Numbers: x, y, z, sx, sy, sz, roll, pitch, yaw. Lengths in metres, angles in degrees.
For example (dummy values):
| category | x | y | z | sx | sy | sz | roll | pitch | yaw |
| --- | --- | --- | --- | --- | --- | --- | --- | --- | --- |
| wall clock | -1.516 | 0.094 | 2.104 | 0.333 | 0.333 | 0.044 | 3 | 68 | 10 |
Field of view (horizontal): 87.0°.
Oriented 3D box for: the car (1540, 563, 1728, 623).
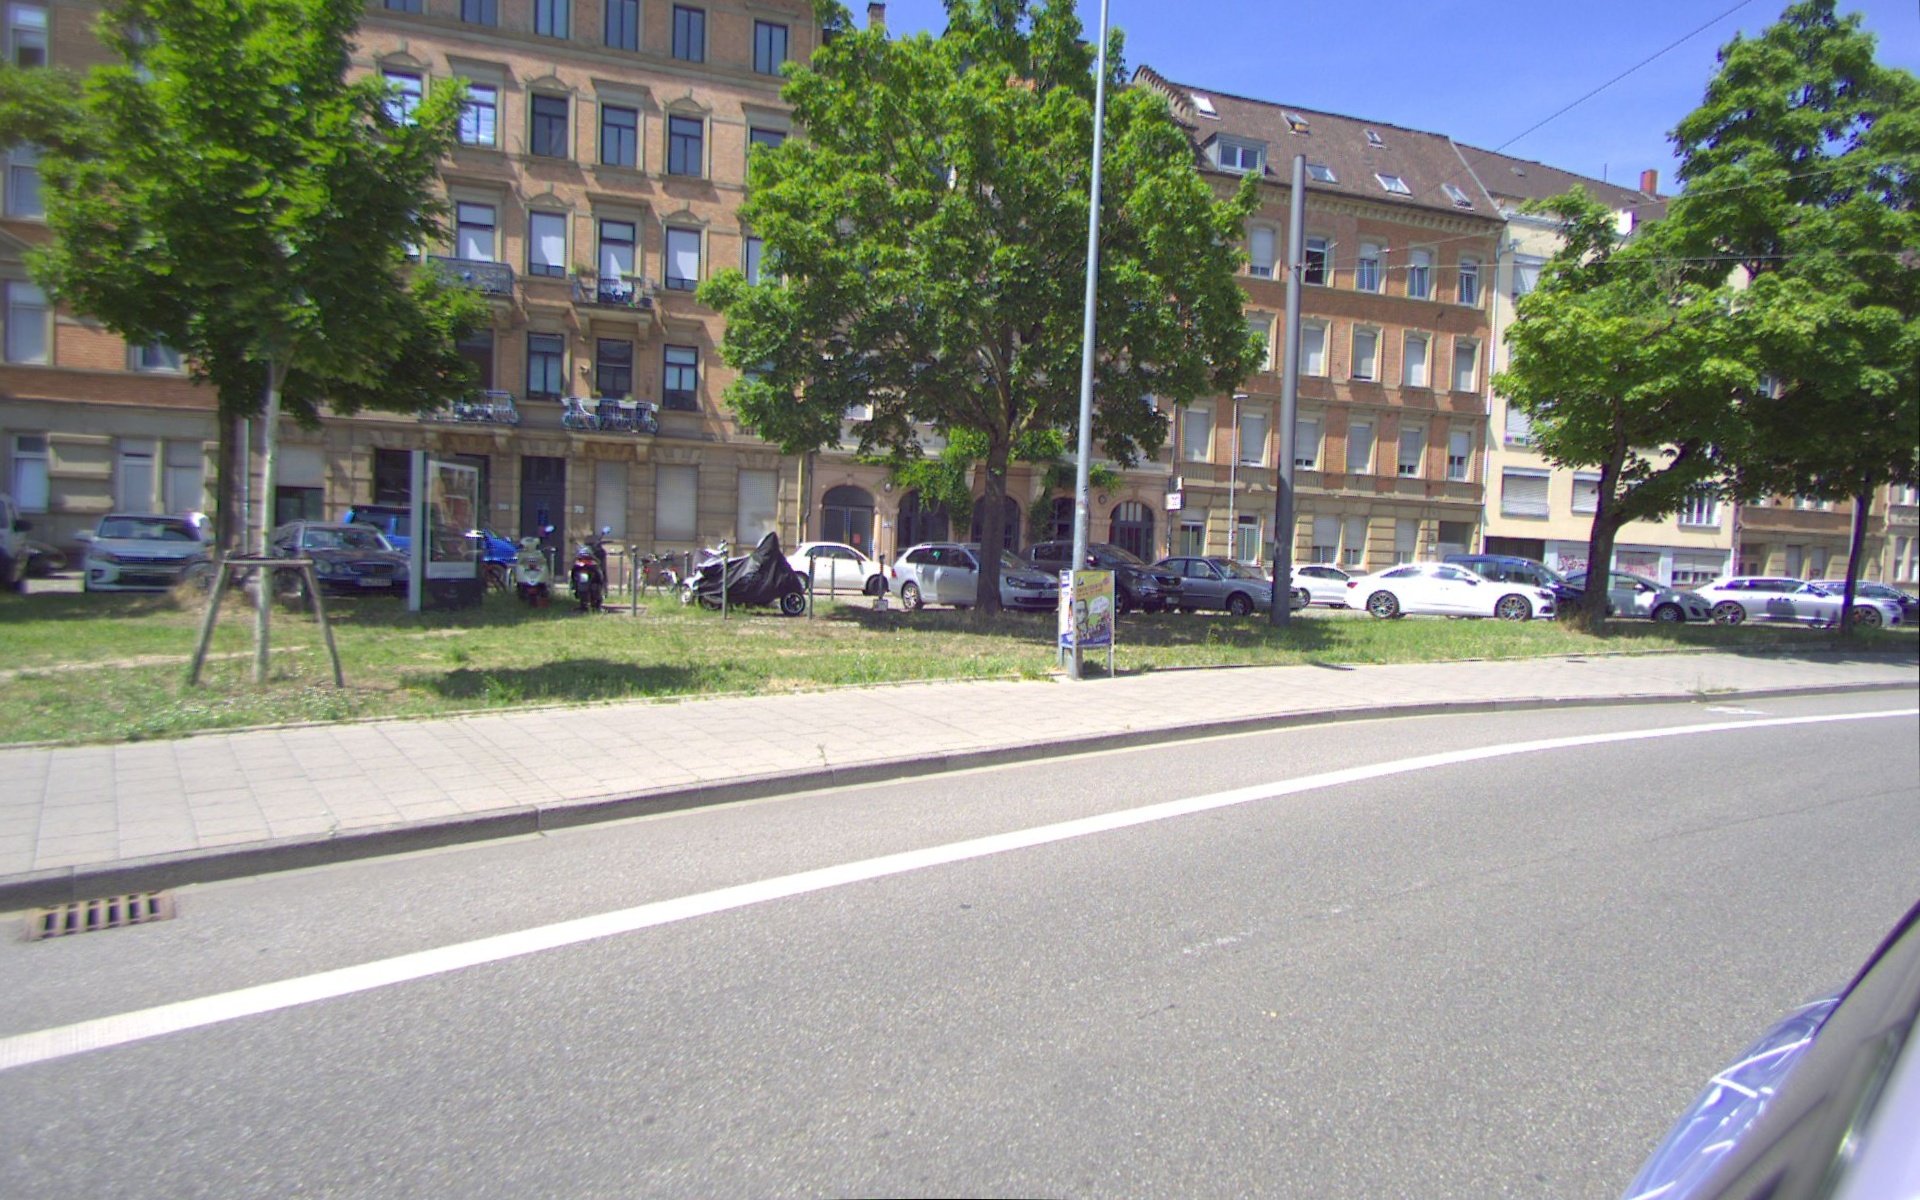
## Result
| category | x | y | z | sx | sy | sz | roll | pitch | yaw |
| --- | --- | --- | --- | --- | --- | --- | --- | --- | --- |
| car | 17.824 | -0.218 | 26.846 | 3.981 | 1.417 | 1.688 | 2 | 1 | 39 |

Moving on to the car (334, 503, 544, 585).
| category | x | y | z | sx | sy | sz | roll | pitch | yaw |
| --- | --- | --- | --- | --- | --- | --- | --- | --- | --- |
| car | -13.529 | -1.423 | 26.578 | 4.556 | 1.927 | 1.930 | 1 | 1 | -15 |

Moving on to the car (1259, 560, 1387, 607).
| category | x | y | z | sx | sy | sz | roll | pitch | yaw |
| --- | --- | --- | --- | --- | --- | --- | --- | --- | --- |
| car | 12.074 | -0.562 | 33.737 | 3.637 | 1.438 | 1.789 | 1 | 1 | -16 |

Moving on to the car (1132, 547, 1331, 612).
| category | x | y | z | sx | sy | sz | roll | pitch | yaw |
| --- | --- | --- | --- | --- | --- | --- | --- | --- | --- |
| car | 6.053 | -0.470 | 22.930 | 1.935 | 1.330 | 3.999 | 1 | 1 | -37 |

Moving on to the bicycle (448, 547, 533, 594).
| category | x | y | z | sx | sy | sz | roll | pitch | yaw |
| --- | --- | --- | --- | --- | --- | --- | --- | --- | --- |
| bicycle | -8.447 | -0.531 | 18.210 | 1.438 | 0.815 | 0.496 | 2 | 1 | 20 |

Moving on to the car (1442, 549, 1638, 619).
| category | x | y | z | sx | sy | sz | roll | pitch | yaw |
| --- | --- | --- | --- | --- | --- | --- | --- | --- | --- |
| car | 15.026 | -0.438 | 26.362 | 1.938 | 1.682 | 3.995 | 1 | 1 | -41 |

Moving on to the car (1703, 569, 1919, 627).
| category | x | y | z | sx | sy | sz | roll | pitch | yaw |
| --- | --- | --- | --- | --- | --- | --- | --- | --- | --- |
| car | 23.864 | -0.091 | 28.501 | 4.669 | 1.445 | 1.945 | 2 | 1 | 39 |

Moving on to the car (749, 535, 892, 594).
| category | x | y | z | sx | sy | sz | roll | pitch | yaw |
| --- | --- | --- | --- | --- | --- | --- | --- | --- | --- |
| car | -4.074 | -1.013 | 29.390 | 3.916 | 1.549 | 1.846 | 1 | 1 | -13 |

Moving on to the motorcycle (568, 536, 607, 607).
| category | x | y | z | sx | sy | sz | roll | pitch | yaw |
| --- | --- | --- | --- | --- | --- | --- | --- | --- | --- |
| motorcycle | -6.231 | -0.476 | 16.975 | 0.468 | 1.134 | 1.529 | 1 | 1 | -15 |

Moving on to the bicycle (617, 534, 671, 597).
| category | x | y | z | sx | sy | sz | roll | pitch | yaw |
| --- | --- | --- | --- | --- | --- | --- | --- | --- | --- |
| bicycle | -6.610 | -0.715 | 21.266 | 0.619 | 1.251 | 2.088 | 1 | 1 | -5 |

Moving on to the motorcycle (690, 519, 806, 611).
| category | x | y | z | sx | sy | sz | roll | pitch | yaw |
| --- | --- | --- | --- | --- | --- | --- | --- | --- | --- |
| motorcycle | -3.542 | -0.583 | 16.870 | 1.817 | 1.430 | 0.679 | 2 | 3 | -14 |

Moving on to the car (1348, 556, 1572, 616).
| category | x | y | z | sx | sy | sz | roll | pitch | yaw |
| --- | --- | --- | --- | --- | --- | --- | --- | --- | --- |
| car | 12.371 | -0.382 | 25.134 | 4.755 | 1.330 | 2.124 | 2 | 1 | 34 |

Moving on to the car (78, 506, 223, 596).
| category | x | y | z | sx | sy | sz | roll | pitch | yaw |
| --- | --- | --- | --- | --- | --- | --- | --- | --- | --- |
| car | -13.955 | -0.807 | 17.368 | 1.729 | 1.348 | 3.993 | 1 | 1 | -42 |

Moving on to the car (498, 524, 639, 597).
| category | x | y | z | sx | sy | sz | roll | pitch | yaw |
| --- | --- | --- | --- | --- | --- | --- | --- | --- | --- |
| car | -8.311 | -0.822 | 21.859 | 1.917 | 1.393 | 4.006 | 1 | 1 | -7 |

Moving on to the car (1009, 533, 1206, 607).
| category | x | y | z | sx | sy | sz | roll | pitch | yaw |
| --- | --- | --- | --- | --- | --- | --- | --- | --- | --- |
| car | 3.159 | -0.662 | 22.303 | 1.767 | 1.488 | 4.085 | 1 | 1 | -42 |

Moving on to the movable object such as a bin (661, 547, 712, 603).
| category | x | y | z | sx | sy | sz | roll | pitch | yaw |
| --- | --- | --- | --- | --- | --- | --- | --- | --- | --- |
| movable object such as a bin | -4.870 | -0.444 | 18.075 | 0.687 | 0.948 | 0.990 | 1 | 1 | -4 |

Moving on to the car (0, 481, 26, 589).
| category | x | y | z | sx | sy | sz | roll | pitch | yaw |
| --- | --- | --- | --- | --- | --- | --- | --- | --- | --- |
| car | -16.644 | -1.071 | 16.610 | 1.804 | 1.620 | 4.867 | 1 | 1 | -42 |

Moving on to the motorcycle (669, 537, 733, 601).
| category | x | y | z | sx | sy | sz | roll | pitch | yaw |
| --- | --- | --- | --- | --- | --- | --- | --- | --- | --- |
| motorcycle | -5.389 | -0.650 | 21.185 | 0.797 | 1.251 | 2.085 | 1 | 2 | 0 |

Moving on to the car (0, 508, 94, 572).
| category | x | y | z | sx | sy | sz | roll | pitch | yaw |
| --- | --- | --- | --- | --- | --- | --- | --- | --- | --- |
| car | -23.177 | -1.423 | 23.774 | 3.915 | 1.438 | 1.781 | 1 | 1 | -16 |

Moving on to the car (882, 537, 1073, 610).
| category | x | y | z | sx | sy | sz | roll | pitch | yaw |
| --- | --- | --- | --- | --- | --- | --- | --- | --- | --- |
| car | 0.258 | -0.580 | 21.481 | 1.555 | 1.393 | 4.343 | 1 | 1 | -40 |

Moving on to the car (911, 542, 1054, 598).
| category | x | y | z | sx | sy | sz | roll | pitch | yaw |
| --- | --- | --- | --- | --- | --- | --- | --- | --- | --- |
| car | 0.658 | -0.891 | 30.771 | 3.915 | 1.549 | 1.847 | 1 | 1 | -17 |

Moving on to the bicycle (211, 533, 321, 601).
| category | x | y | z | sx | sy | sz | roll | pitch | yaw |
| --- | --- | --- | --- | --- | --- | --- | --- | --- | --- |
| bicycle | -10.266 | -0.487 | 14.987 | 1.347 | 0.959 | 0.476 | 2 | 1 | 6 |

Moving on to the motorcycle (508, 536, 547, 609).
| category | x | y | z | sx | sy | sz | roll | pitch | yaw |
| --- | --- | --- | --- | --- | --- | --- | --- | --- | --- |
| motorcycle | -7.154 | -0.461 | 16.783 | 0.517 | 1.134 | 1.832 | 1 | 1 | -22 |

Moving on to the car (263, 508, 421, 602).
| category | x | y | z | sx | sy | sz | roll | pitch | yaw |
| --- | --- | --- | --- | --- | --- | --- | --- | --- | --- |
| car | -10.892 | -0.768 | 17.738 | 1.580 | 1.450 | 3.860 | 1 | 1 | -44 |

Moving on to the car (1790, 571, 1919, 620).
| category | x | y | z | sx | sy | sz | roll | pitch | yaw |
| --- | --- | --- | --- | --- | --- | --- | --- | --- | --- |
| car | 27.129 | -0.125 | 29.524 | 4.410 | 1.355 | 1.945 | 2 | 1 | 39 |
